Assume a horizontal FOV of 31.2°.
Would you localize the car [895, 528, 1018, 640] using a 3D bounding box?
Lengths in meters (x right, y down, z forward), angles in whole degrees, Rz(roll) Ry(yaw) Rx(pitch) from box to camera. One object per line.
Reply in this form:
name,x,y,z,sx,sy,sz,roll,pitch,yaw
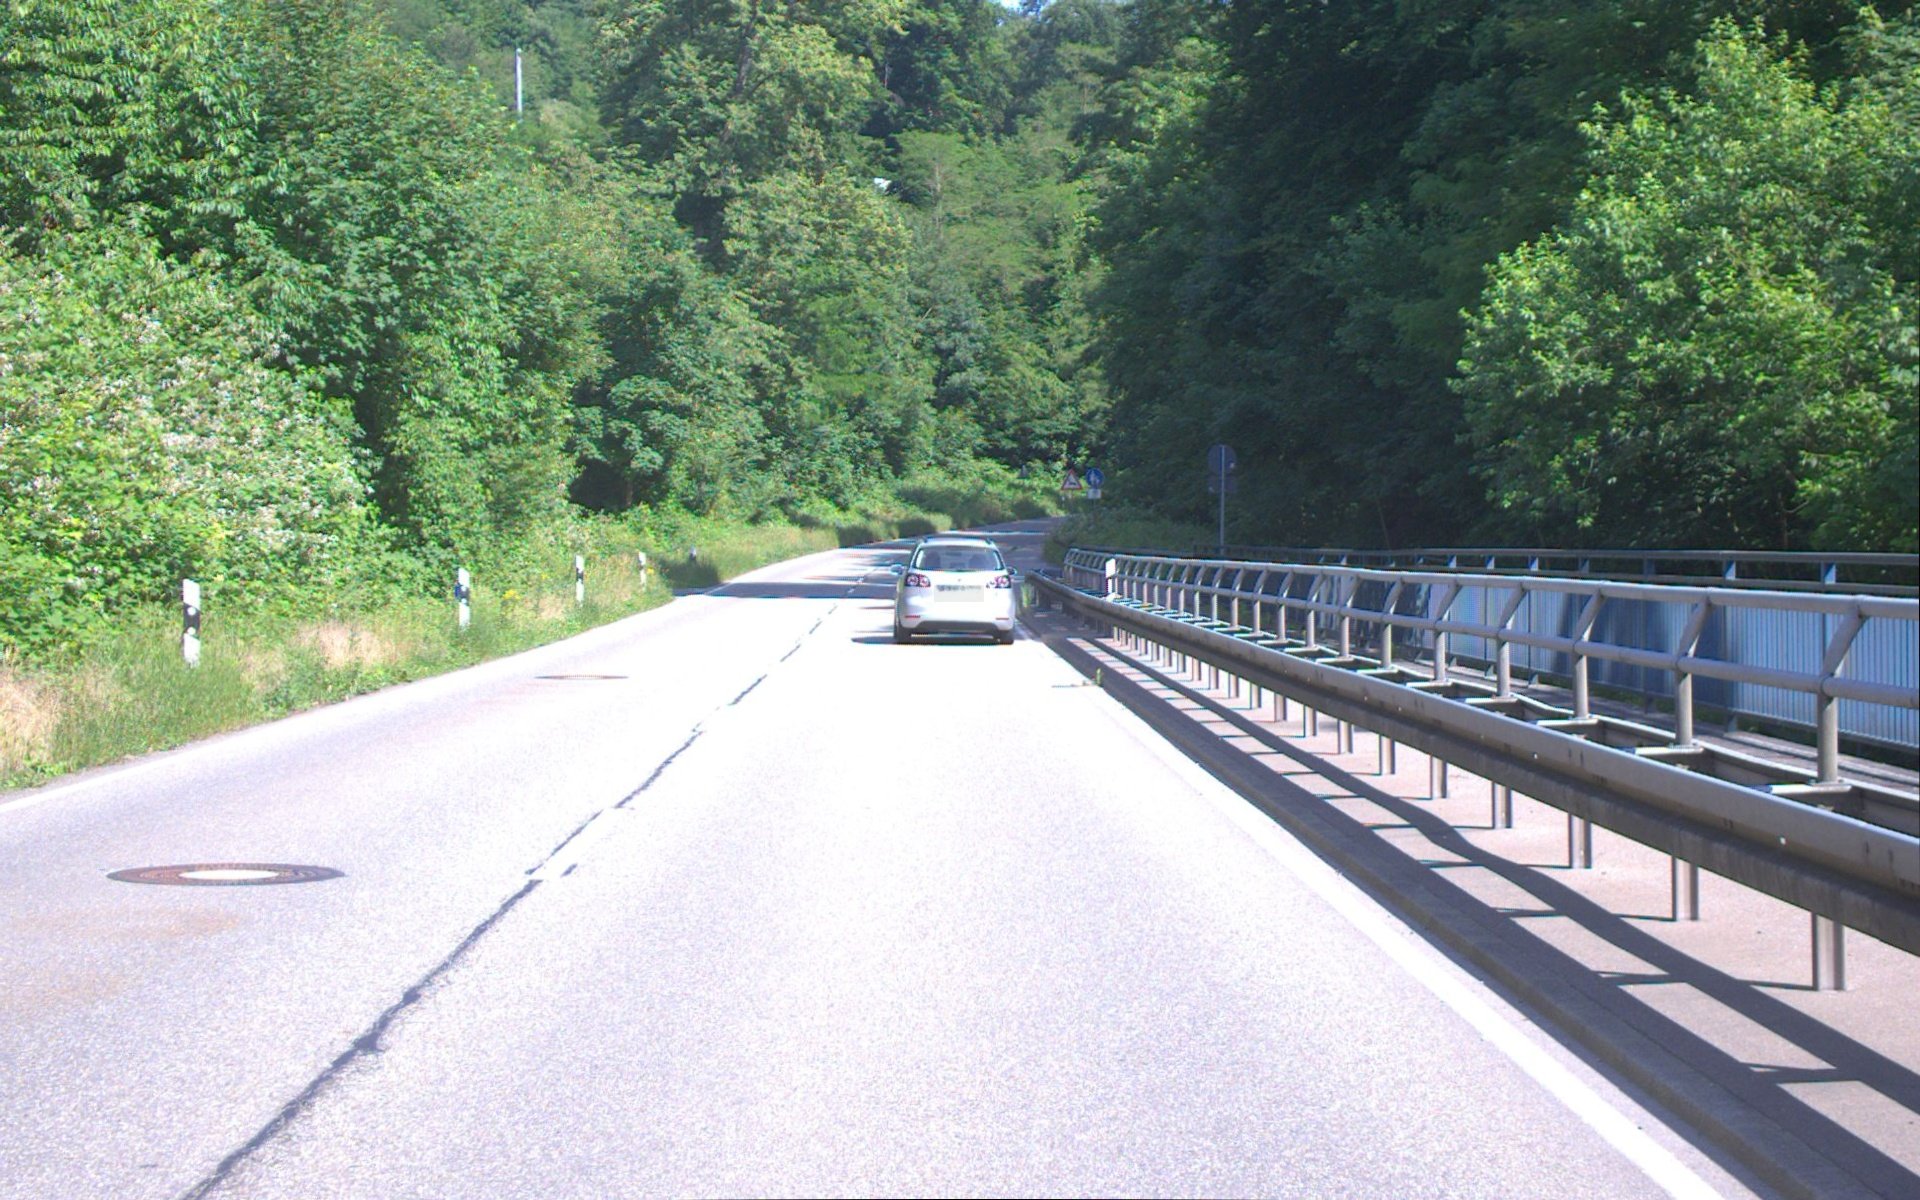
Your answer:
car,-0.092,-0.272,51.752,1.751,1.514,4.160,1,2,-1
